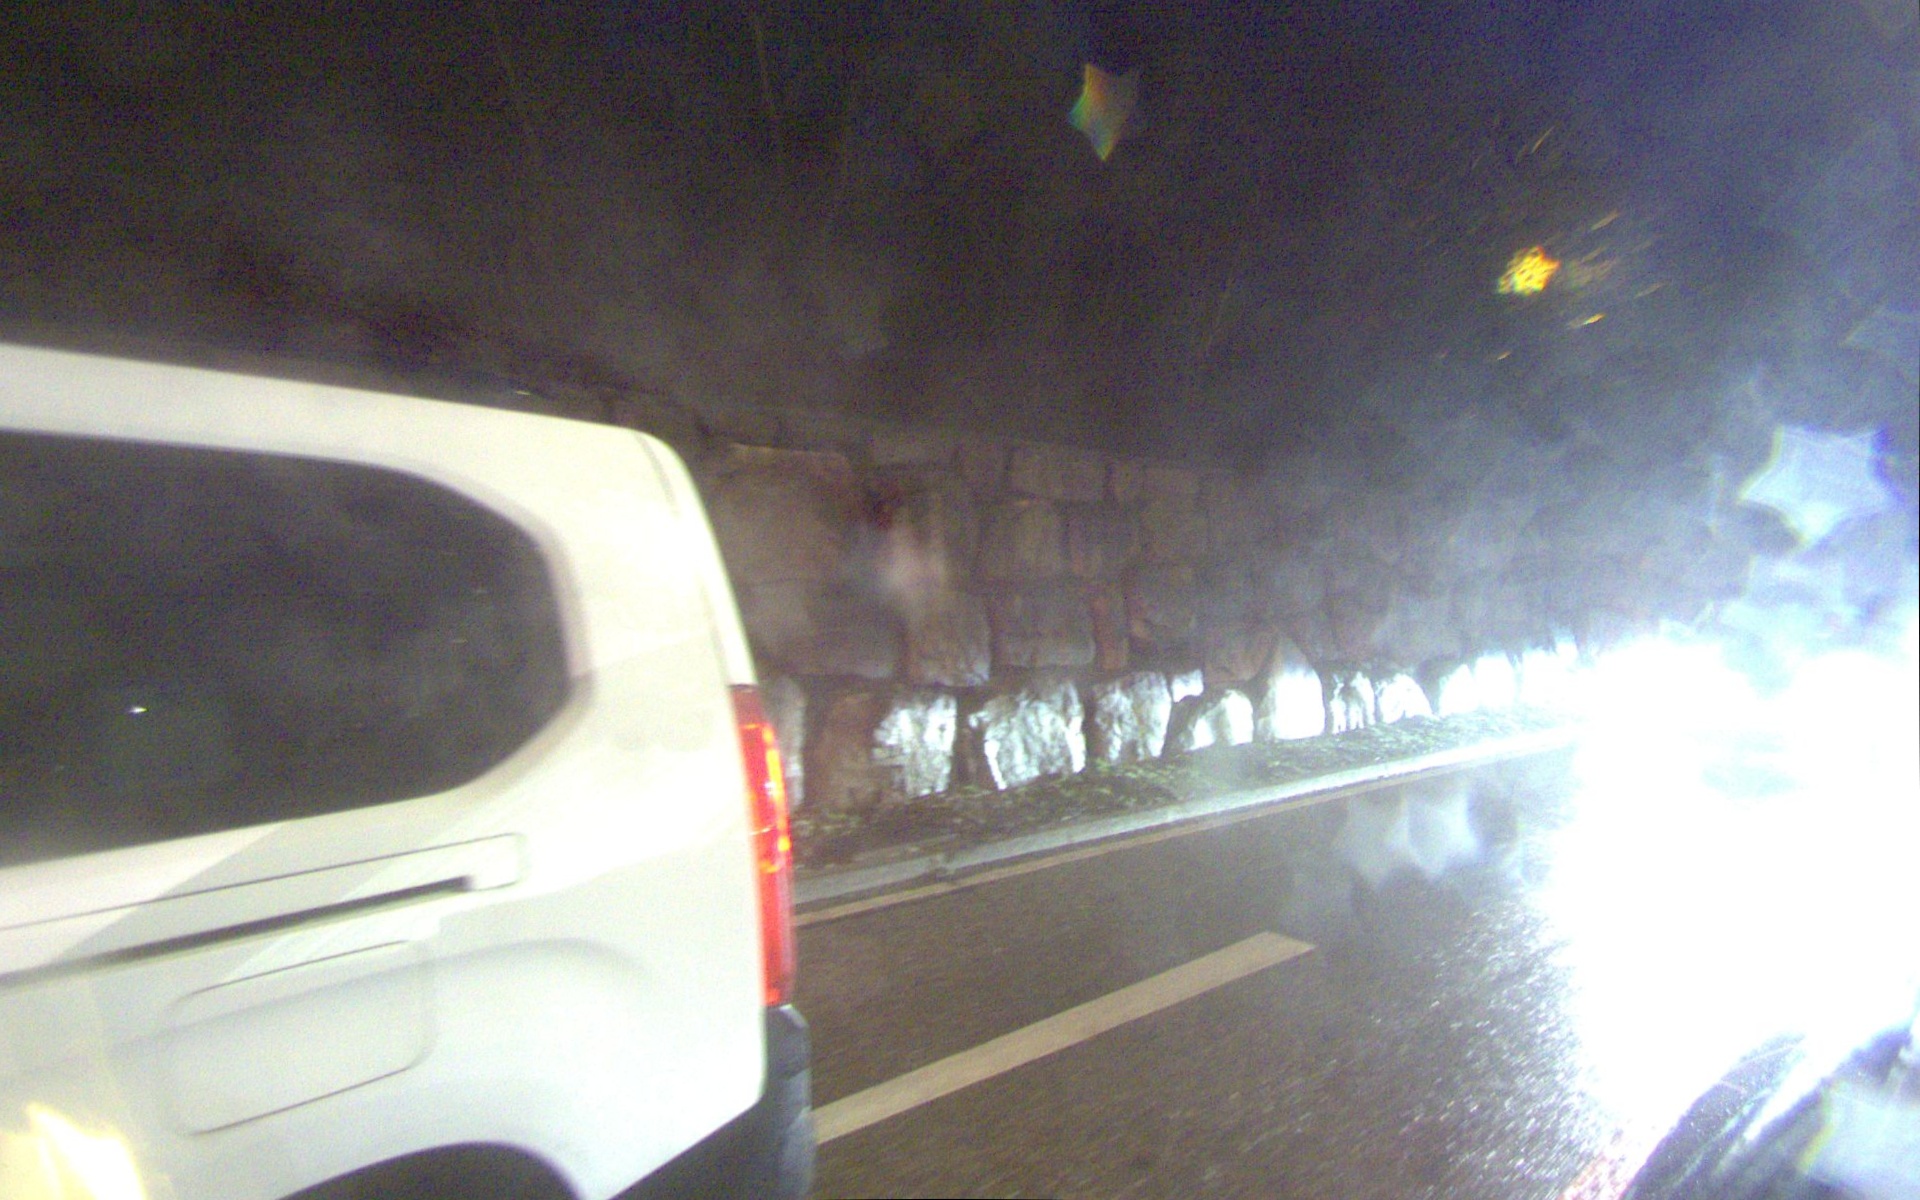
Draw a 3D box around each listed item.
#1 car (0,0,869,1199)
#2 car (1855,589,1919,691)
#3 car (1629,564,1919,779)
[{"bbox_3d":[-2.402,0.392,0.882,4.502,2.047,1.793,0,0,-43],"label":"car"},{"bbox_3d":[17.443,0.645,17.927,4.358,1.669,1.787,0,0,-41],"label":"car"},{"bbox_3d":[8.452,0.563,10.109,4.142,1.715,1.790,0,0,-39],"label":"car"}]
